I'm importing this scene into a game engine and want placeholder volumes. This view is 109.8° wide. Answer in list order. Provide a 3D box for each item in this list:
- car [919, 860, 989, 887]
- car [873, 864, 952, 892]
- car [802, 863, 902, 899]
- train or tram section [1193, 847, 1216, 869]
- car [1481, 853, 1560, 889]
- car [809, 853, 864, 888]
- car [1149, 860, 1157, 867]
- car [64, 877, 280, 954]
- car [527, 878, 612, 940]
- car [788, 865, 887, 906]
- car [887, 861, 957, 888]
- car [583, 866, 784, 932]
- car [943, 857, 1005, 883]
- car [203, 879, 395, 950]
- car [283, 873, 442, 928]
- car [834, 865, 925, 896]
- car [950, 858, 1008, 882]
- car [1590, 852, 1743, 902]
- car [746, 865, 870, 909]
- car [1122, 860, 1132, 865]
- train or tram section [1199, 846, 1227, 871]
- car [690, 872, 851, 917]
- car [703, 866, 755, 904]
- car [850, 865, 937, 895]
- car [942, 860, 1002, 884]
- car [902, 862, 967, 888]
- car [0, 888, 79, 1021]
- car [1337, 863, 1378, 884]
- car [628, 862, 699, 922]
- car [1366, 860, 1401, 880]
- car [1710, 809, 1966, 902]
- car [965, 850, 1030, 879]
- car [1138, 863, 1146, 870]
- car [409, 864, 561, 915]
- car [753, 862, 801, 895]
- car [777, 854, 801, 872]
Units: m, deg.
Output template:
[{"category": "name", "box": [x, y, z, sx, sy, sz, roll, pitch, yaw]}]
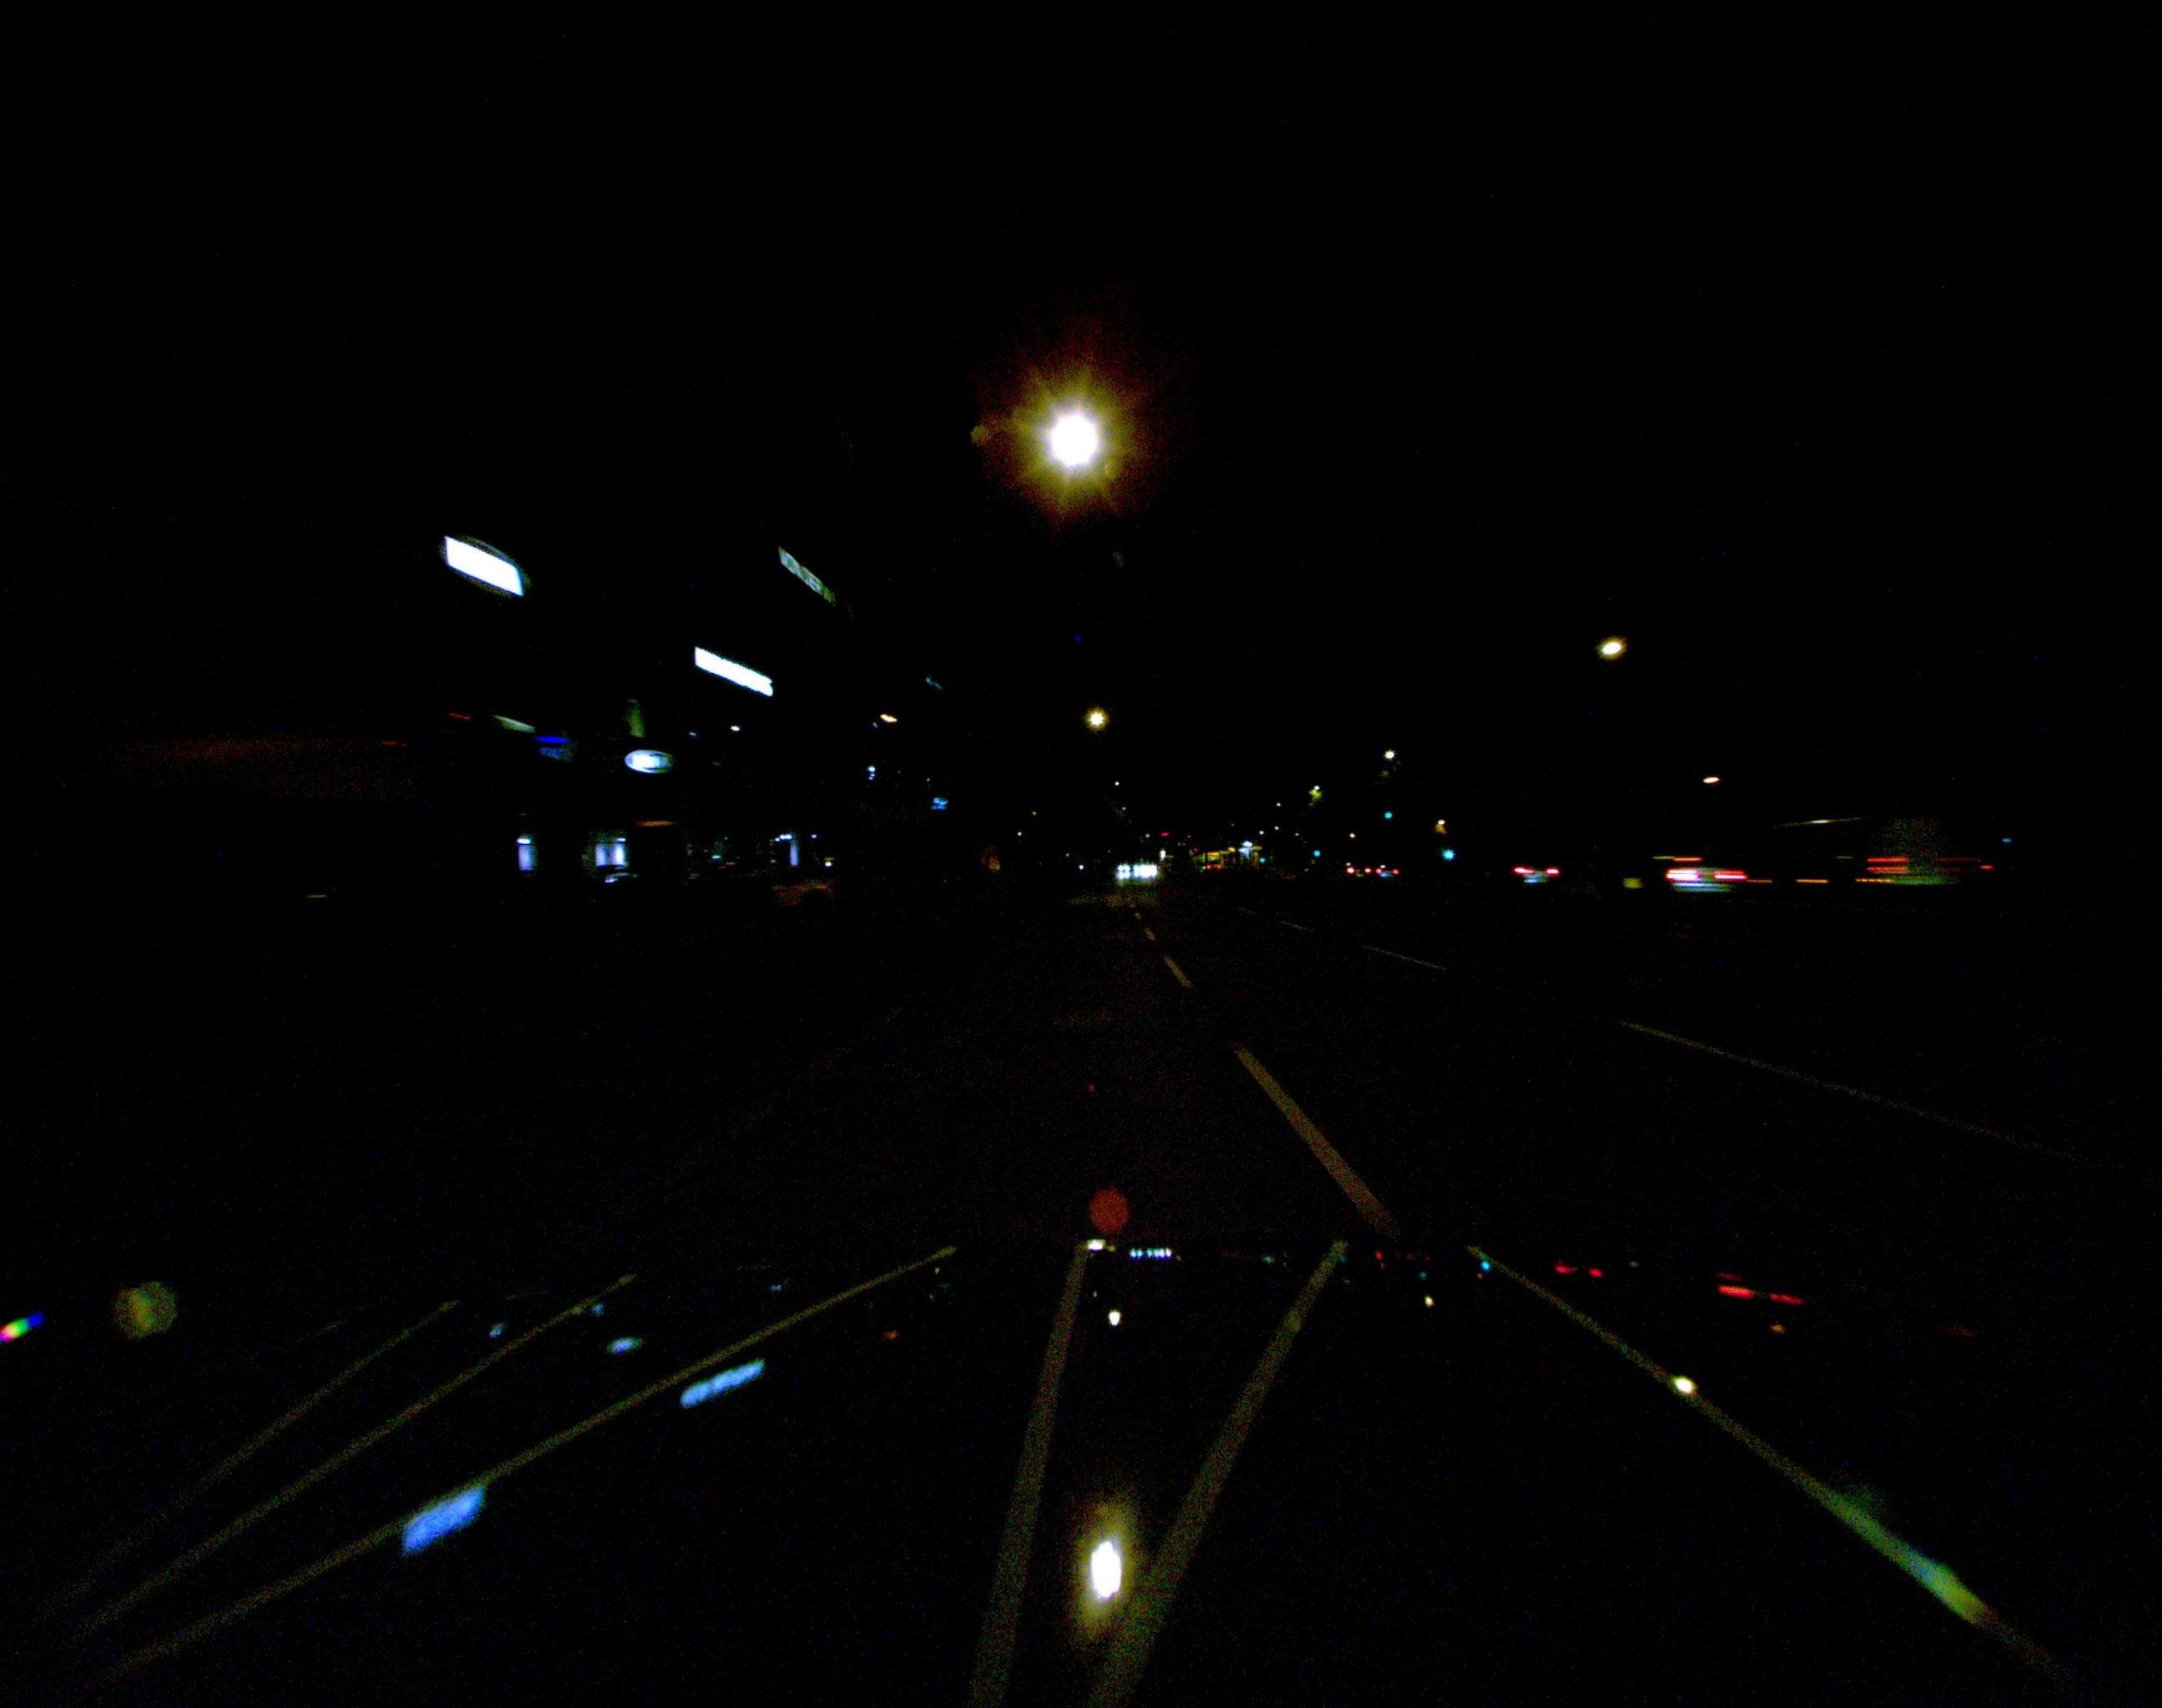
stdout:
[{"category": "car", "box": [-8.567, 1.288, 51.565, 4.474, 1.538, 1.769, 3, 0, -6]}, {"category": "car", "box": [-9.063, 1.289, 40.973, 4.037, 1.365, 1.824, 2, -1, -12]}, {"category": "car", "box": [-9.810, 1.163, 32.785, 4.003, 1.461, 1.830, 1, -1, -16]}, {"category": "train or tram section", "box": [23.453, 0.854, 145.273, 2.744, 3.823, 19.372, -2, -1, 5]}, {"category": "car", "box": [22.737, 0.830, 39.499, 1.783, 1.703, 4.228, -2, 0, 4]}, {"category": "car", "box": [-14.626, 0.981, 45.273, 1.838, 1.906, 4.816, -2, 0, -33]}, {"category": "car", "box": [17.596, 2.298, 186.149, 1.907, 1.608, 3.720, -2, 0, 5]}, {"category": "car", "box": [-23.249, 1.502, 19.632, 1.637, 1.632, 3.298, 1, 2, -2]}, {"category": "car", "box": [-15.019, 1.543, 22.515, 1.781, 1.401, 4.328, -2, 2, -30]}, {"category": "car", "box": [-9.656, 1.214, 30.187, 3.616, 1.425, 1.677, -2, 0, -20]}, {"category": "car", "box": [-9.078, 1.190, 43.664, 3.780, 1.370, 1.715, 3, -1, -10]}, {"category": "car", "box": [-10.044, 1.104, 19.535, 4.135, 1.412, 1.875, -2, 0, -10]}, {"category": "car", "box": [-8.106, 1.225, 57.771, 4.474, 1.677, 1.999, 3, -1, -7]}, {"category": "car", "box": [-20.911, 1.554, 20.529, 1.637, 1.505, 3.414, 0, 2, -2]}, {"category": "car", "box": [-22.796, 1.435, 24.193, 3.486, 1.576, 1.749, 0, 2, 4]}, {"category": "car", "box": [-9.445, 1.232, 35.559, 4.003, 1.383, 1.824, 1, -2, -18]}, {"category": "car", "box": [-8.109, 1.265, 60.515, 4.474, 1.799, 1.999, 1, -1, -7]}, {"category": "car", "box": [18.222, 0.650, 23.945, 1.624, 1.431, 4.339, 0, 0, 2]}, {"category": "car", "box": [-9.753, 1.152, 27.460, 4.002, 1.415, 1.907, -1, -1, -14]}, {"category": "car", "box": [11.273, 2.057, 185.002, 1.949, 1.299, 3.904, 0, 0, -3]}, {"category": "train or tram section", "box": [21.767, 0.719, 126.341, 2.764, 3.804, 18.678, -2, -1, 5]}, {"category": "car", "box": [-9.989, 1.272, 24.747, 4.649, 1.256, 1.944, -1, -1, -21]}, {"category": "car", "box": [-14.750, 1.281, 31.758, 1.323, 1.477, 3.065, -1, -1, -37]}, {"category": "car", "box": [-9.363, 1.287, 38.163, 4.000, 1.372, 1.808, 1, -1, -7]}, {"category": "car", "box": [-7.839, 1.300, 54.824, 4.093, 1.559, 1.854, 3, -1, -7]}, {"category": "car", "box": [-8.880, 1.252, 46.181, 3.815, 1.444, 1.716, 2, -1, -10]}, {"category": "car", "box": [-17.467, 1.584, 9.685, 1.999, 2.002, 5.627, -2, 0, -2]}, {"category": "car", "box": [21.929, 1.502, 60.451, 1.789, 1.488, 4.174, -2, 1, 0]}, {"category": "car", "box": [-14.680, 1.259, 26.622, 1.591, 1.786, 3.858, -2, 3, -37]}, {"category": "car", "box": [25.439, 1.334, 64.089, 1.664, 1.507, 3.912, -2, 0, 5]}, {"category": "car", "box": [24.897, 0.034, 25.592, 2.150, 2.655, 6.965, 1, 0, 6]}, {"category": "car", "box": [-8.341, 1.048, 75.497, 6.039, 2.514, 2.281, 4, -1, -13]}, {"category": "car", "box": [15.647, 3.193, 194.286, 1.711, 1.562, 3.999, -2, 1, 0]}, {"category": "car", "box": [-22.351, 1.295, 28.738, 4.328, 1.644, 1.653, -2, 0, -33]}, {"category": "car", "box": [-14.466, 1.133, 36.034, 1.628, 1.455, 3.786, -1, -1, -29]}, {"category": "car", "box": [-28.339, 0.886, 73.839, 2.001, 1.652, 4.660, -2, 0, -19]}]
